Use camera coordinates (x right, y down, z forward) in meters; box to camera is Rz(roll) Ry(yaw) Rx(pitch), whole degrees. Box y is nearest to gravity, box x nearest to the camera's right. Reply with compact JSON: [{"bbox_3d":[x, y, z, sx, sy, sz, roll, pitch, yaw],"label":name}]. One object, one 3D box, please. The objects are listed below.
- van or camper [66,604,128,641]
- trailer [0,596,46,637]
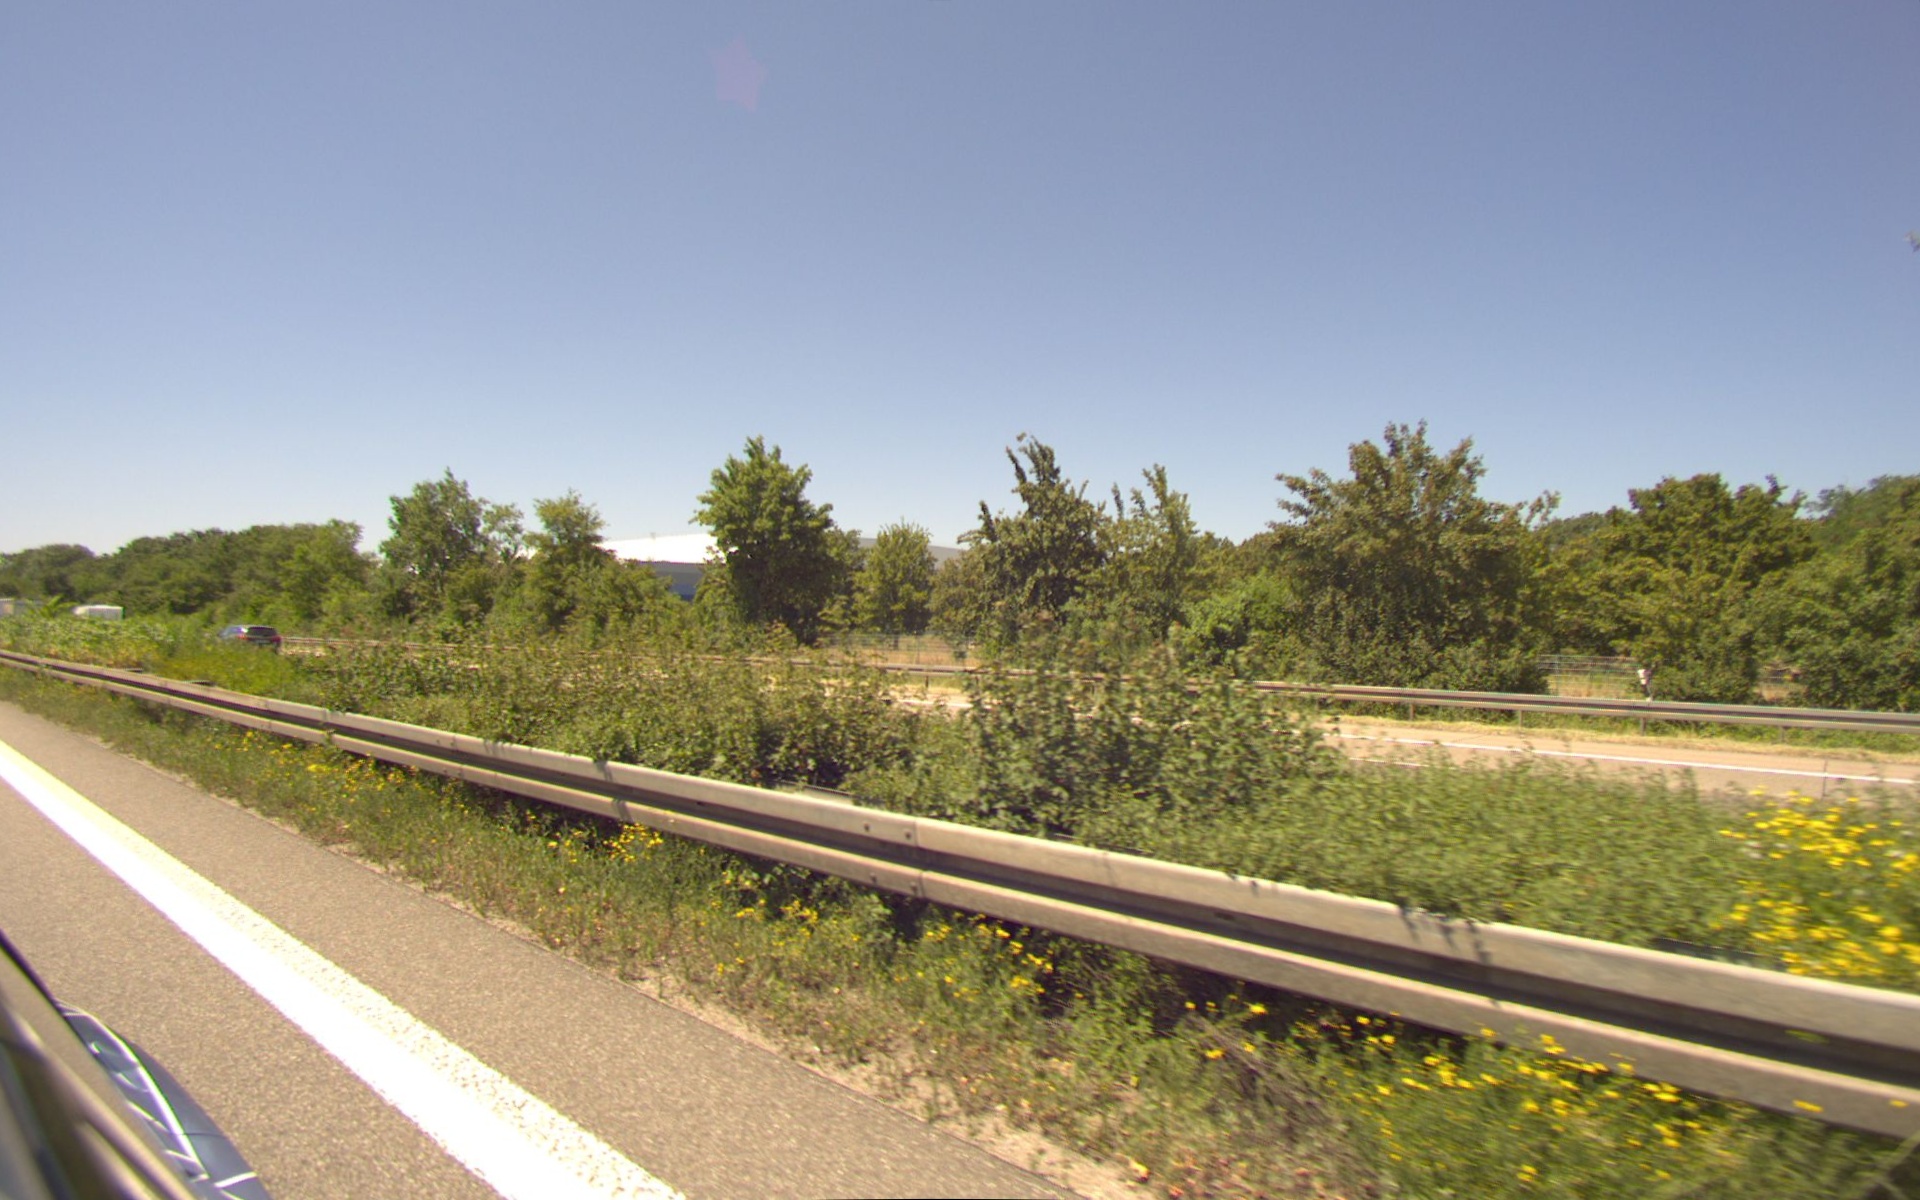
[{"bbox_3d":[-73.217,1.922,85.840,7.443,2.992,2.820,-1,-4,41],"label":"van or camper"},{"bbox_3d":[-107.286,1.832,115.215,13.729,4.243,2.946,1,-2,41],"label":"trailer"}]
